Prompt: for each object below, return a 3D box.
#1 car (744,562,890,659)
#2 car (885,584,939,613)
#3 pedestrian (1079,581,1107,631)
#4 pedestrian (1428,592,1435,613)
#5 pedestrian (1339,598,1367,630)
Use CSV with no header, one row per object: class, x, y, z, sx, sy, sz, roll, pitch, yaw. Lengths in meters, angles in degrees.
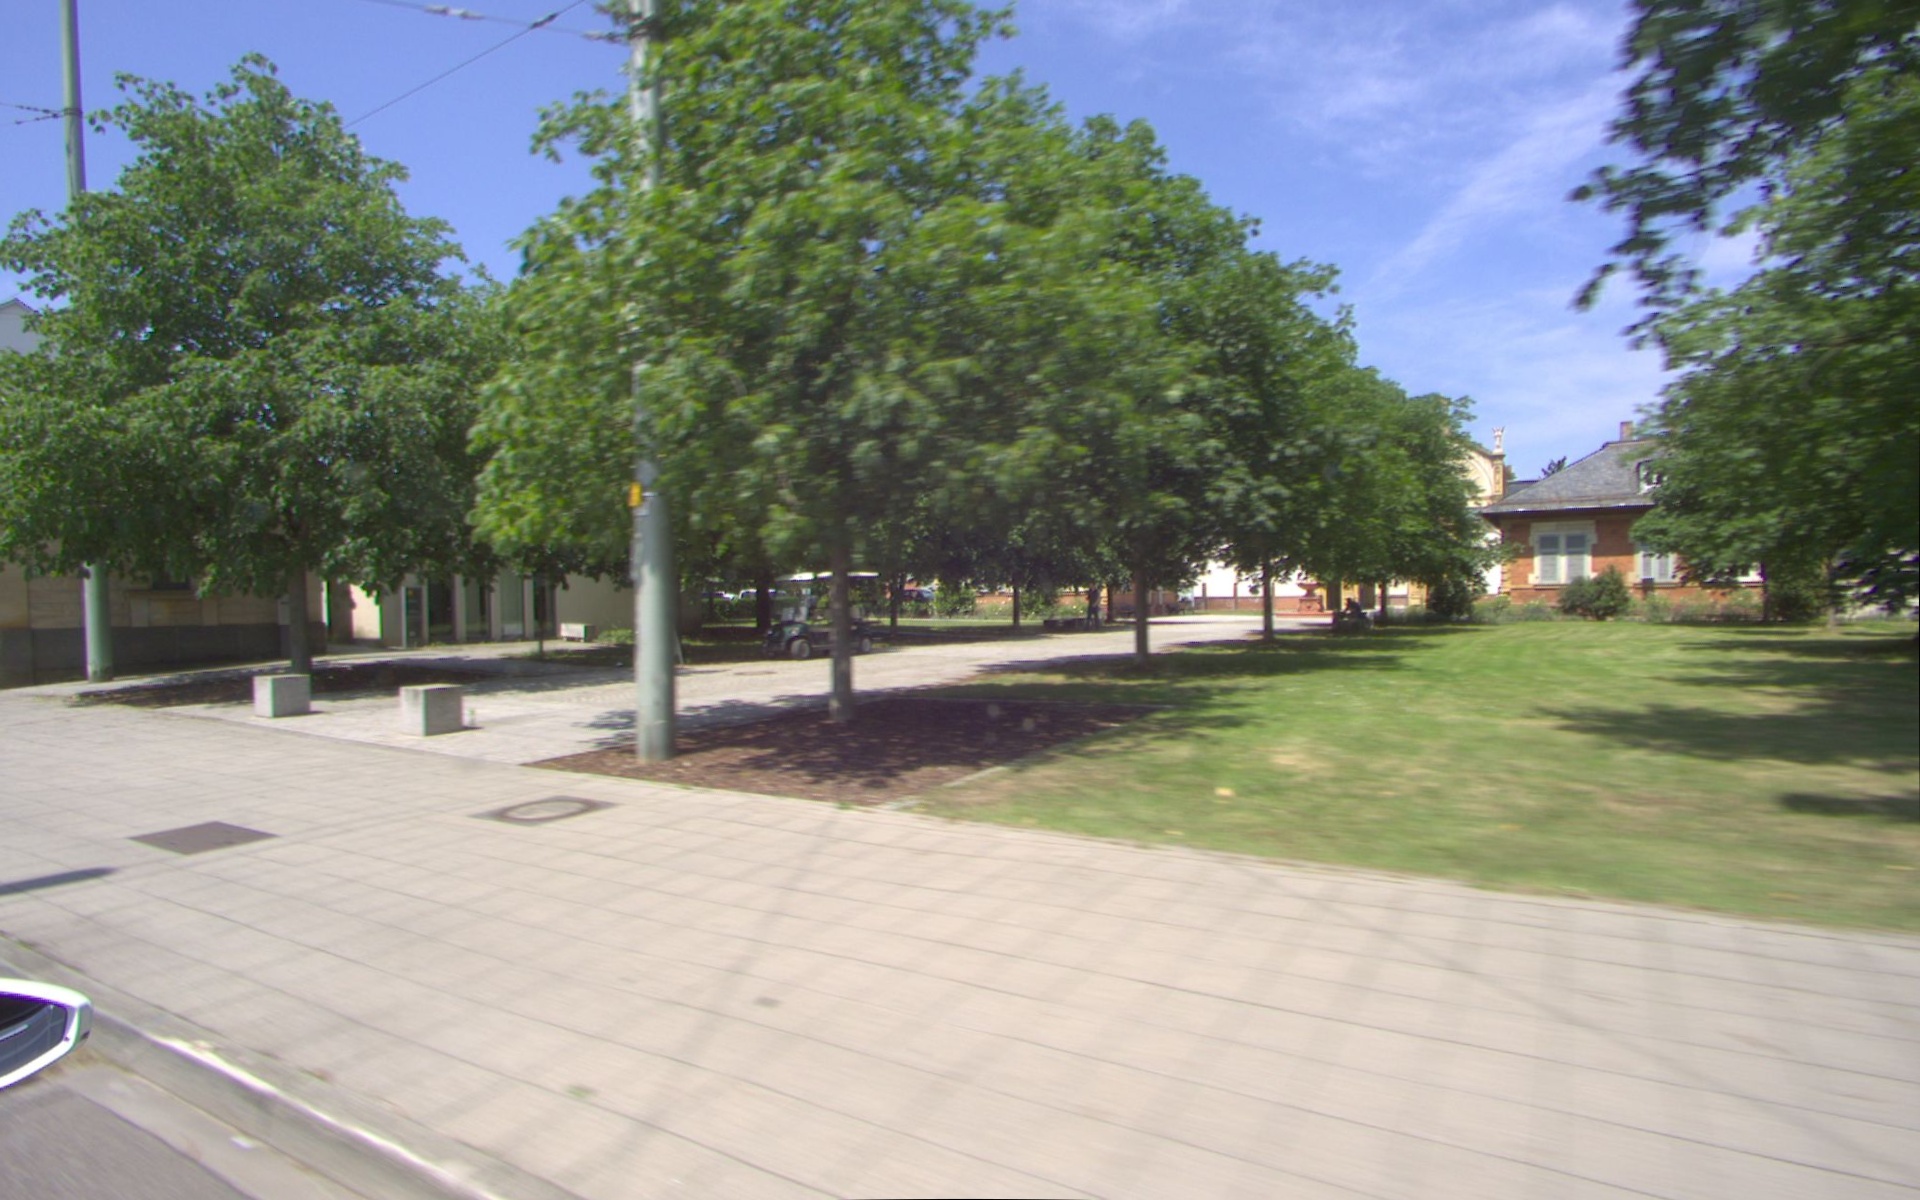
car,-3.204,0.219,22.957,1.444,2.040,3.323,-2,0,33
car,-3.502,-0.112,72.276,3.592,2.020,1.670,0,1,33
pedestrian,4.873,0.219,36.738,0.758,1.817,0.770,0,1,31
pedestrian,34.139,0.178,72.531,0.410,1.507,0.501,0,2,31
pedestrian,14.149,0.491,36.071,0.819,1.129,0.792,0,1,33
